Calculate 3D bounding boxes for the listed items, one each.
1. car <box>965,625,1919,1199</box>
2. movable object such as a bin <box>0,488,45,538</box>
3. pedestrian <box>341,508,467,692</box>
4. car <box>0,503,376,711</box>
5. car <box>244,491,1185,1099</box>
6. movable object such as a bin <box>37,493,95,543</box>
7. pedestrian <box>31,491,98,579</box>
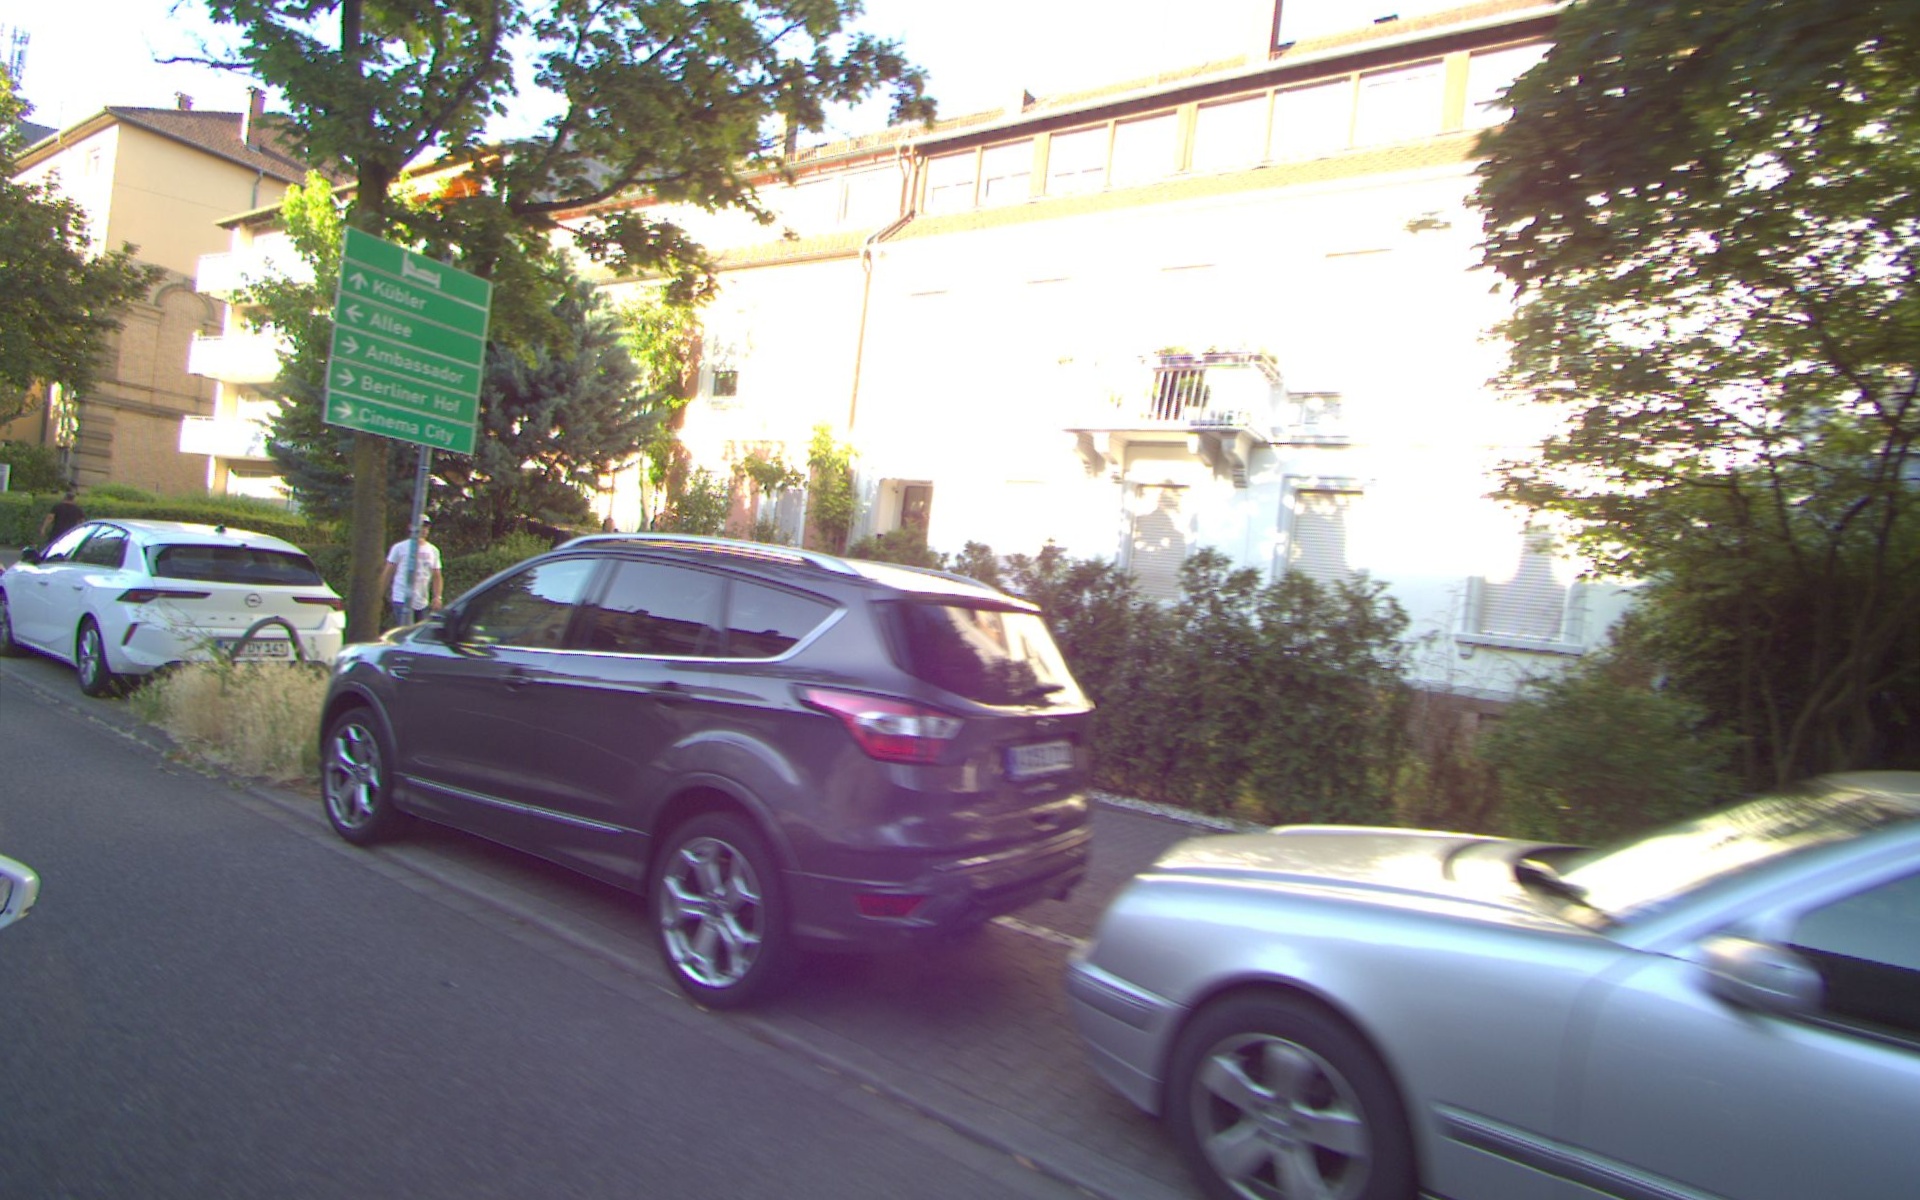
[{"bbox_3d":[2.520,1.128,2.449,4.756,1.522,1.785,7,0,36],"label":"car"},{"bbox_3d":[-32.982,-3.051,35.110,0.977,1.575,1.157,7,0,25],"label":"movable object such as a bin"},{"bbox_3d":[-5.787,0.001,10.477,0.752,1.802,0.669,5,-4,34],"label":"pedestrian"},{"bbox_3d":[-7.507,-0.019,9.447,4.264,1.420,1.762,7,1,34],"label":"car"},{"bbox_3d":[-1.482,0.517,5.144,4.631,1.703,1.917,7,1,33],"label":"car"},{"bbox_3d":[-32.095,-2.950,36.128,0.977,1.575,1.157,7,0,25],"label":"movable object such as a bin"},{"bbox_3d":[-17.794,-1.279,19.997,0.570,1.636,0.747,7,1,32],"label":"pedestrian"}]
